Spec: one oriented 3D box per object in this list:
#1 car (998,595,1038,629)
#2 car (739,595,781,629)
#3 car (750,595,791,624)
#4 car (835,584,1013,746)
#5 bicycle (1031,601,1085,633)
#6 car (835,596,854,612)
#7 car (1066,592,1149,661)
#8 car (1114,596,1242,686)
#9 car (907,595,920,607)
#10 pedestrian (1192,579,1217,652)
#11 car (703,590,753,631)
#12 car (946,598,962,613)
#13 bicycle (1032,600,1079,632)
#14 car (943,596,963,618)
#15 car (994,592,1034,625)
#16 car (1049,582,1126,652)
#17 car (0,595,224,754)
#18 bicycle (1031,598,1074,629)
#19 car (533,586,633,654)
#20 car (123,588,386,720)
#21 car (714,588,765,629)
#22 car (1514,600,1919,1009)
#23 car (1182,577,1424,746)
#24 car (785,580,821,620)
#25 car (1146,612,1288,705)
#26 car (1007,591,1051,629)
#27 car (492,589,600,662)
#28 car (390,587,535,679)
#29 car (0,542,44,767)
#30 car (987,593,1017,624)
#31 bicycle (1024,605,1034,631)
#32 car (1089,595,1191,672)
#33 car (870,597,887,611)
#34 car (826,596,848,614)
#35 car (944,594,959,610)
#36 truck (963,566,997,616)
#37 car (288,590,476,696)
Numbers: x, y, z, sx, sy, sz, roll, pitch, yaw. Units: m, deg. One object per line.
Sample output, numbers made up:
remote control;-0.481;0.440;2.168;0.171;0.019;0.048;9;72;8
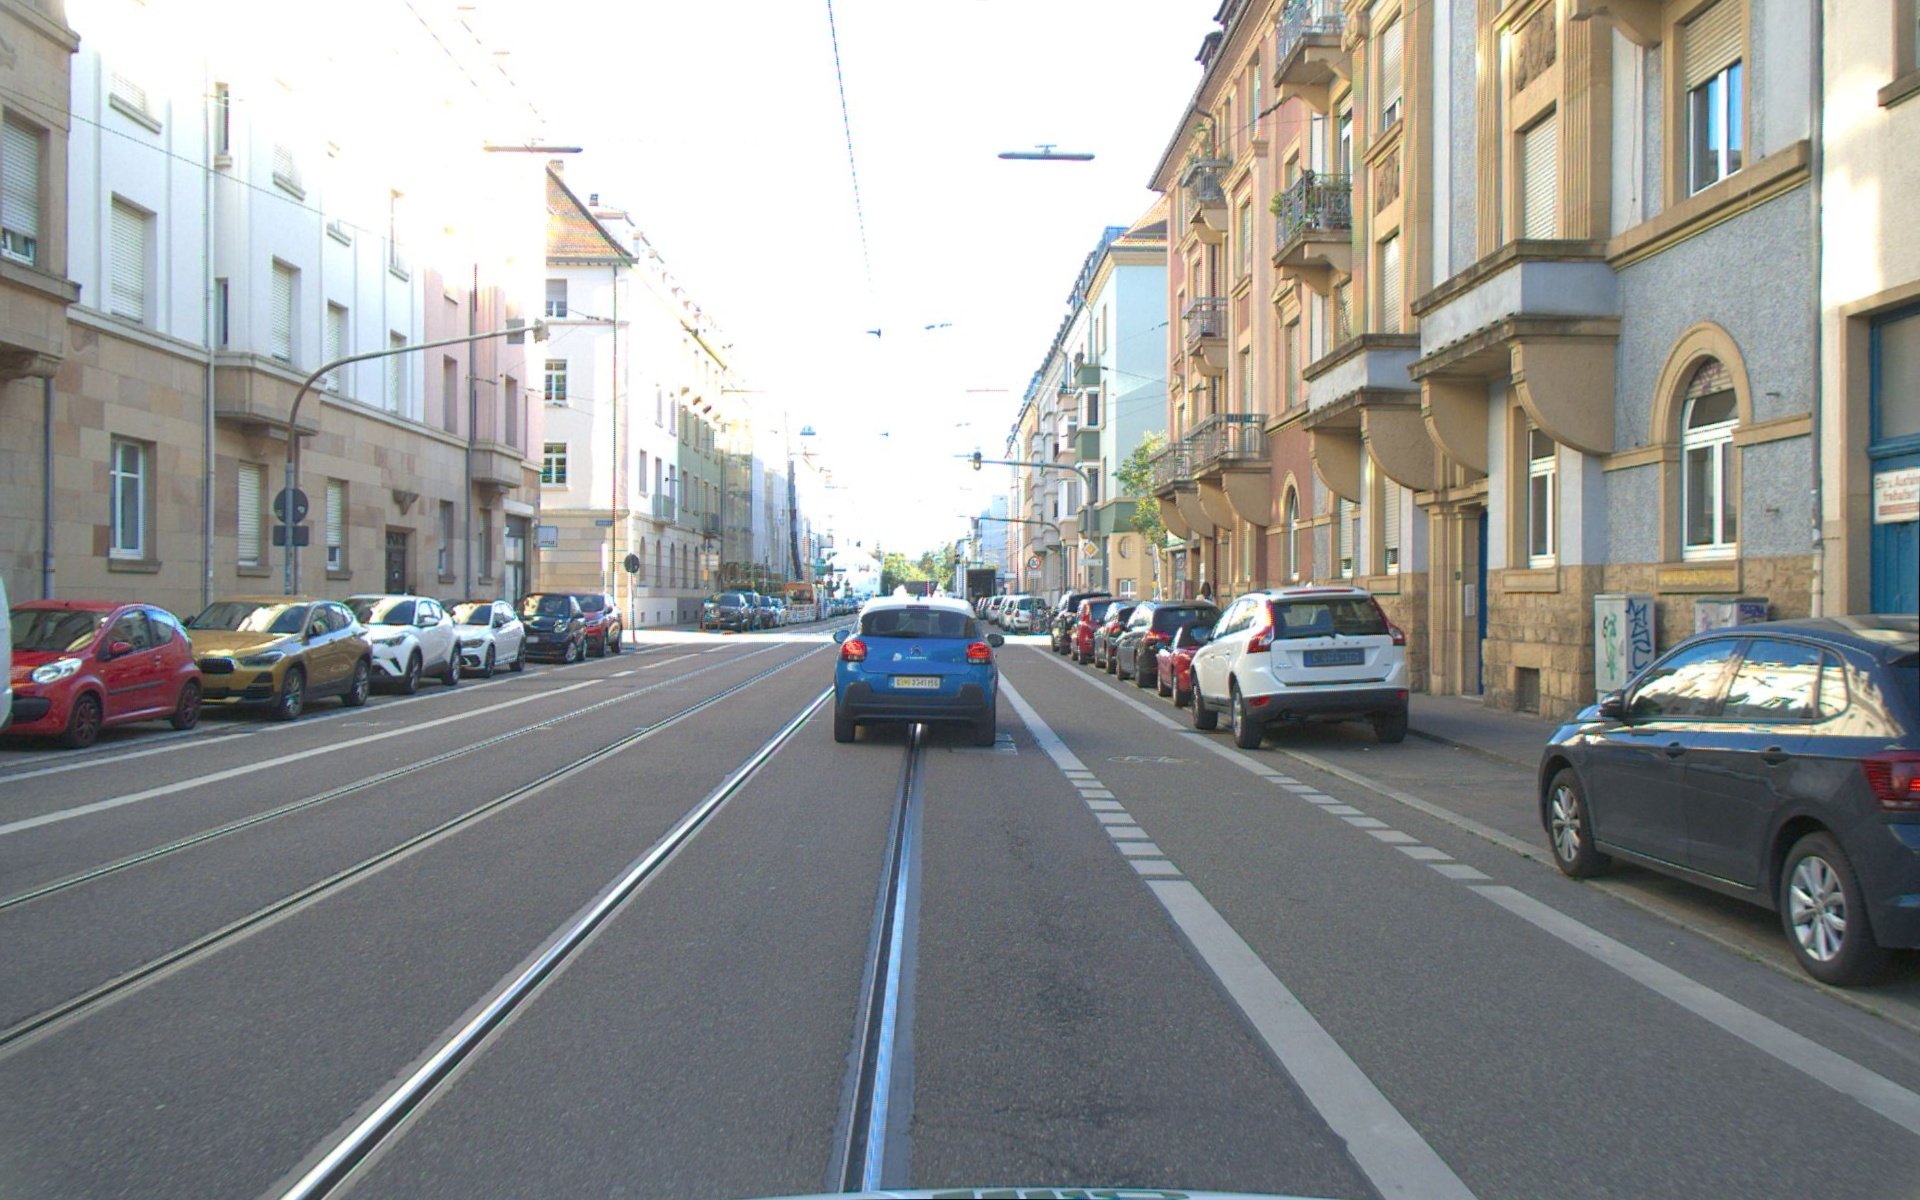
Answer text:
car;2.776;0.577;79.629;1.747;1.603;4.325;0;0;-1
car;-10.286;0.597;85.398;1.748;1.655;4.606;2;0;-3
car;-10.456;0.496;91.430;1.683;1.529;4.388;2;0;1
car;-0.371;0.634;18.237;1.700;1.533;3.992;2;0;-1
bicycle;3.900;0.680;66.031;2.044;1.174;0.848;-3;0;-1
car;-12.250;0.456;175.036;1.789;1.660;3.904;0;0;-1
car;3.561;0.613;40.409;1.717;1.622;3.729;0;0;0
car;3.886;0.689;30.144;1.621;1.509;4.472;0;0;-2
car;-6.477;0.108;231.918;1.789;1.660;4.489;0;0;-1
pedestrian;5.803;0.360;39.262;0.502;1.716;0.448;0;0;-1
car;-10.292;0.435;73.561;1.748;1.720;4.665;2;0;-3
car;-0.649;0.580;177.858;1.729;1.513;4.031;0;0;-1
bicycle;3.865;0.642;66.718;1.805;1.174;0.469;-3;0;-1
car;-0.661;0.613;151.667;1.784;1.927;3.999;1;0;-1
car;2.935;0.462;90.557;1.622;1.782;4.598;0;0;-5
car;3.552;0.452;46.723;1.718;1.766;4.506;-3;0;-1
car;-9.582;0.721;17.944;1.570;1.498;3.645;2;0;-1
bicycle;3.832;0.559;68.502;1.688;1.174;0.469;-3;0;-1
car;-9.808;0.496;43.342;1.748;1.634;4.395;2;0;-3
car;-9.329;0.653;22.290;1.747;1.550;4.358;2;0;-2
car;-10.388;0.388;78.151;1.747;1.848;4.528;2;0;0
car;4.251;0.739;7.989;1.702;1.467;4.031;0;0;-2
car;3.793;0.620;19.067;1.805;1.720;4.504;0;0;-1
car;-10.300;0.003;108.765;2.102;2.519;4.977;1;0;-3
car;3.898;0.847;25.739;1.620;1.271;4.505;0;0;1
car;3.056;0.433;73.752;1.747;1.660;3.999;0;0;-1
car;-9.633;0.568;38.703;1.747;1.580;3.018;2;0;-1
car;-9.804;0.605;32.894;1.748;1.650;4.177;2;0;-3
car;-9.344;0.455;12.550;1.933;1.983;5.250;2;0;-2
car;2.620;0.519;102.937;1.695;1.859;4.685;0;0;-1
bicycle;2.874;0.752;68.964;0.345;1.063;1.728;0;0;1
car;3.767;0.668;35.245;1.620;1.539;4.473;0;0;-1
car;-9.394;0.445;191.095;1.789;1.660;4.489;0;0;-1
car;-11.530;0.456;154.977;1.789;1.660;4.848;0;0;-1
car;-1.268;0.276;237.107;2.174;2.324;4.083;0;0;-1
truck;1.702;-0.750;144.751;2.794;4.154;11.270;0;0;0
car;-9.529;0.654;27.618;1.736;1.574;4.363;2;0;-3
